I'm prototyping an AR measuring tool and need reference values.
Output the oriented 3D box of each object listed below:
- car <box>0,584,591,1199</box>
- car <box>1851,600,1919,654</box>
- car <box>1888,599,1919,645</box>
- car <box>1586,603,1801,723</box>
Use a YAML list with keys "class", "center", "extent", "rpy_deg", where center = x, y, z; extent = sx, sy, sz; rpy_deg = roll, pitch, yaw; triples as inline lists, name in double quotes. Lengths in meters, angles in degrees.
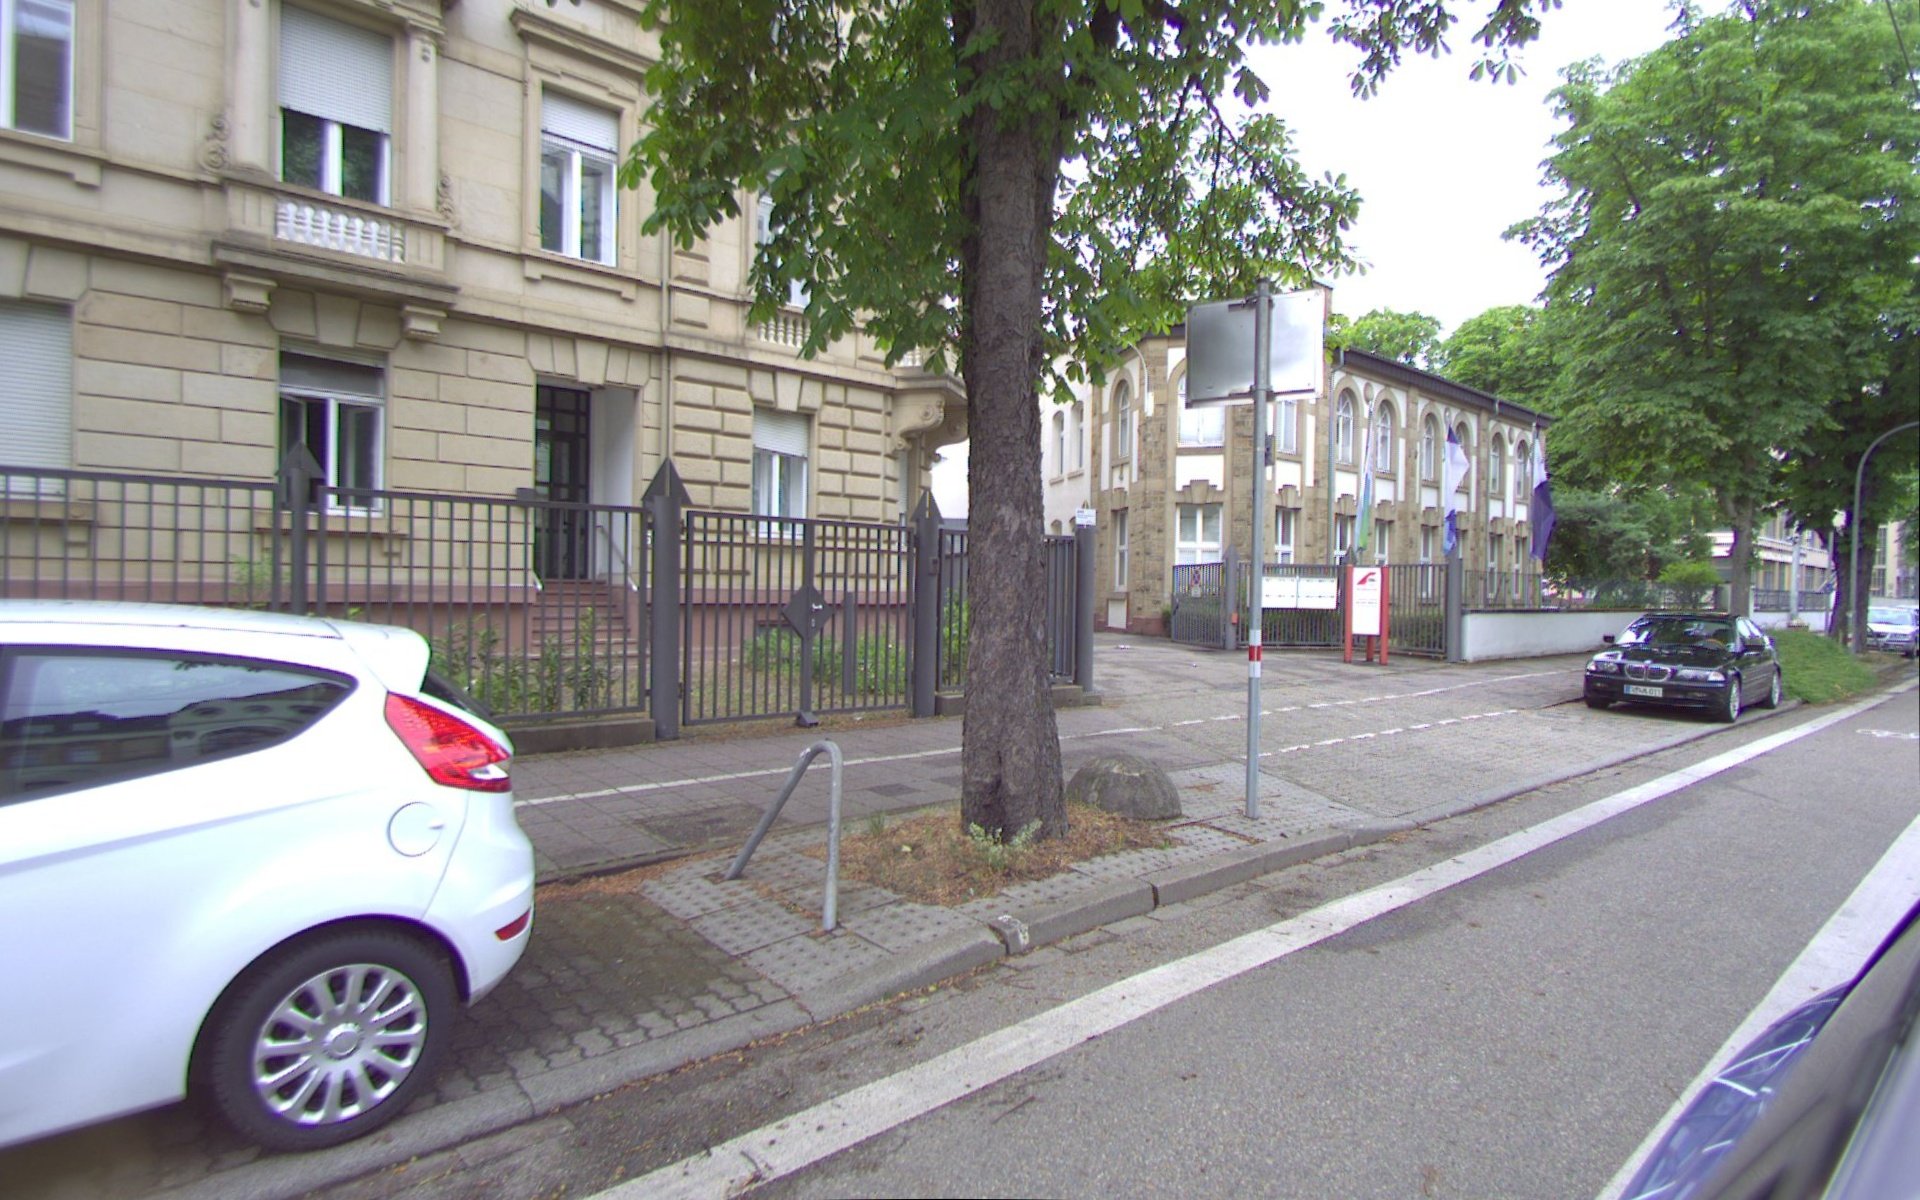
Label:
- class: "car"
  center: [-3.077, 0.716, 2.542]
  extent: [3.698, 1.453, 1.631]
  rpy_deg: [0, 3, -41]
- class: "car"
  center: [27.064, 0.745, 29.122]
  extent: [3.769, 1.387, 1.606]
  rpy_deg: [0, 3, -41]
- class: "car"
  center: [32.344, 0.721, 33.742]
  extent: [3.769, 1.442, 1.606]
  rpy_deg: [0, 3, -41]
- class: "car"
  center: [10.489, 0.785, 14.377]
  extent: [3.769, 1.387, 1.606]
  rpy_deg: [0, 3, -41]
